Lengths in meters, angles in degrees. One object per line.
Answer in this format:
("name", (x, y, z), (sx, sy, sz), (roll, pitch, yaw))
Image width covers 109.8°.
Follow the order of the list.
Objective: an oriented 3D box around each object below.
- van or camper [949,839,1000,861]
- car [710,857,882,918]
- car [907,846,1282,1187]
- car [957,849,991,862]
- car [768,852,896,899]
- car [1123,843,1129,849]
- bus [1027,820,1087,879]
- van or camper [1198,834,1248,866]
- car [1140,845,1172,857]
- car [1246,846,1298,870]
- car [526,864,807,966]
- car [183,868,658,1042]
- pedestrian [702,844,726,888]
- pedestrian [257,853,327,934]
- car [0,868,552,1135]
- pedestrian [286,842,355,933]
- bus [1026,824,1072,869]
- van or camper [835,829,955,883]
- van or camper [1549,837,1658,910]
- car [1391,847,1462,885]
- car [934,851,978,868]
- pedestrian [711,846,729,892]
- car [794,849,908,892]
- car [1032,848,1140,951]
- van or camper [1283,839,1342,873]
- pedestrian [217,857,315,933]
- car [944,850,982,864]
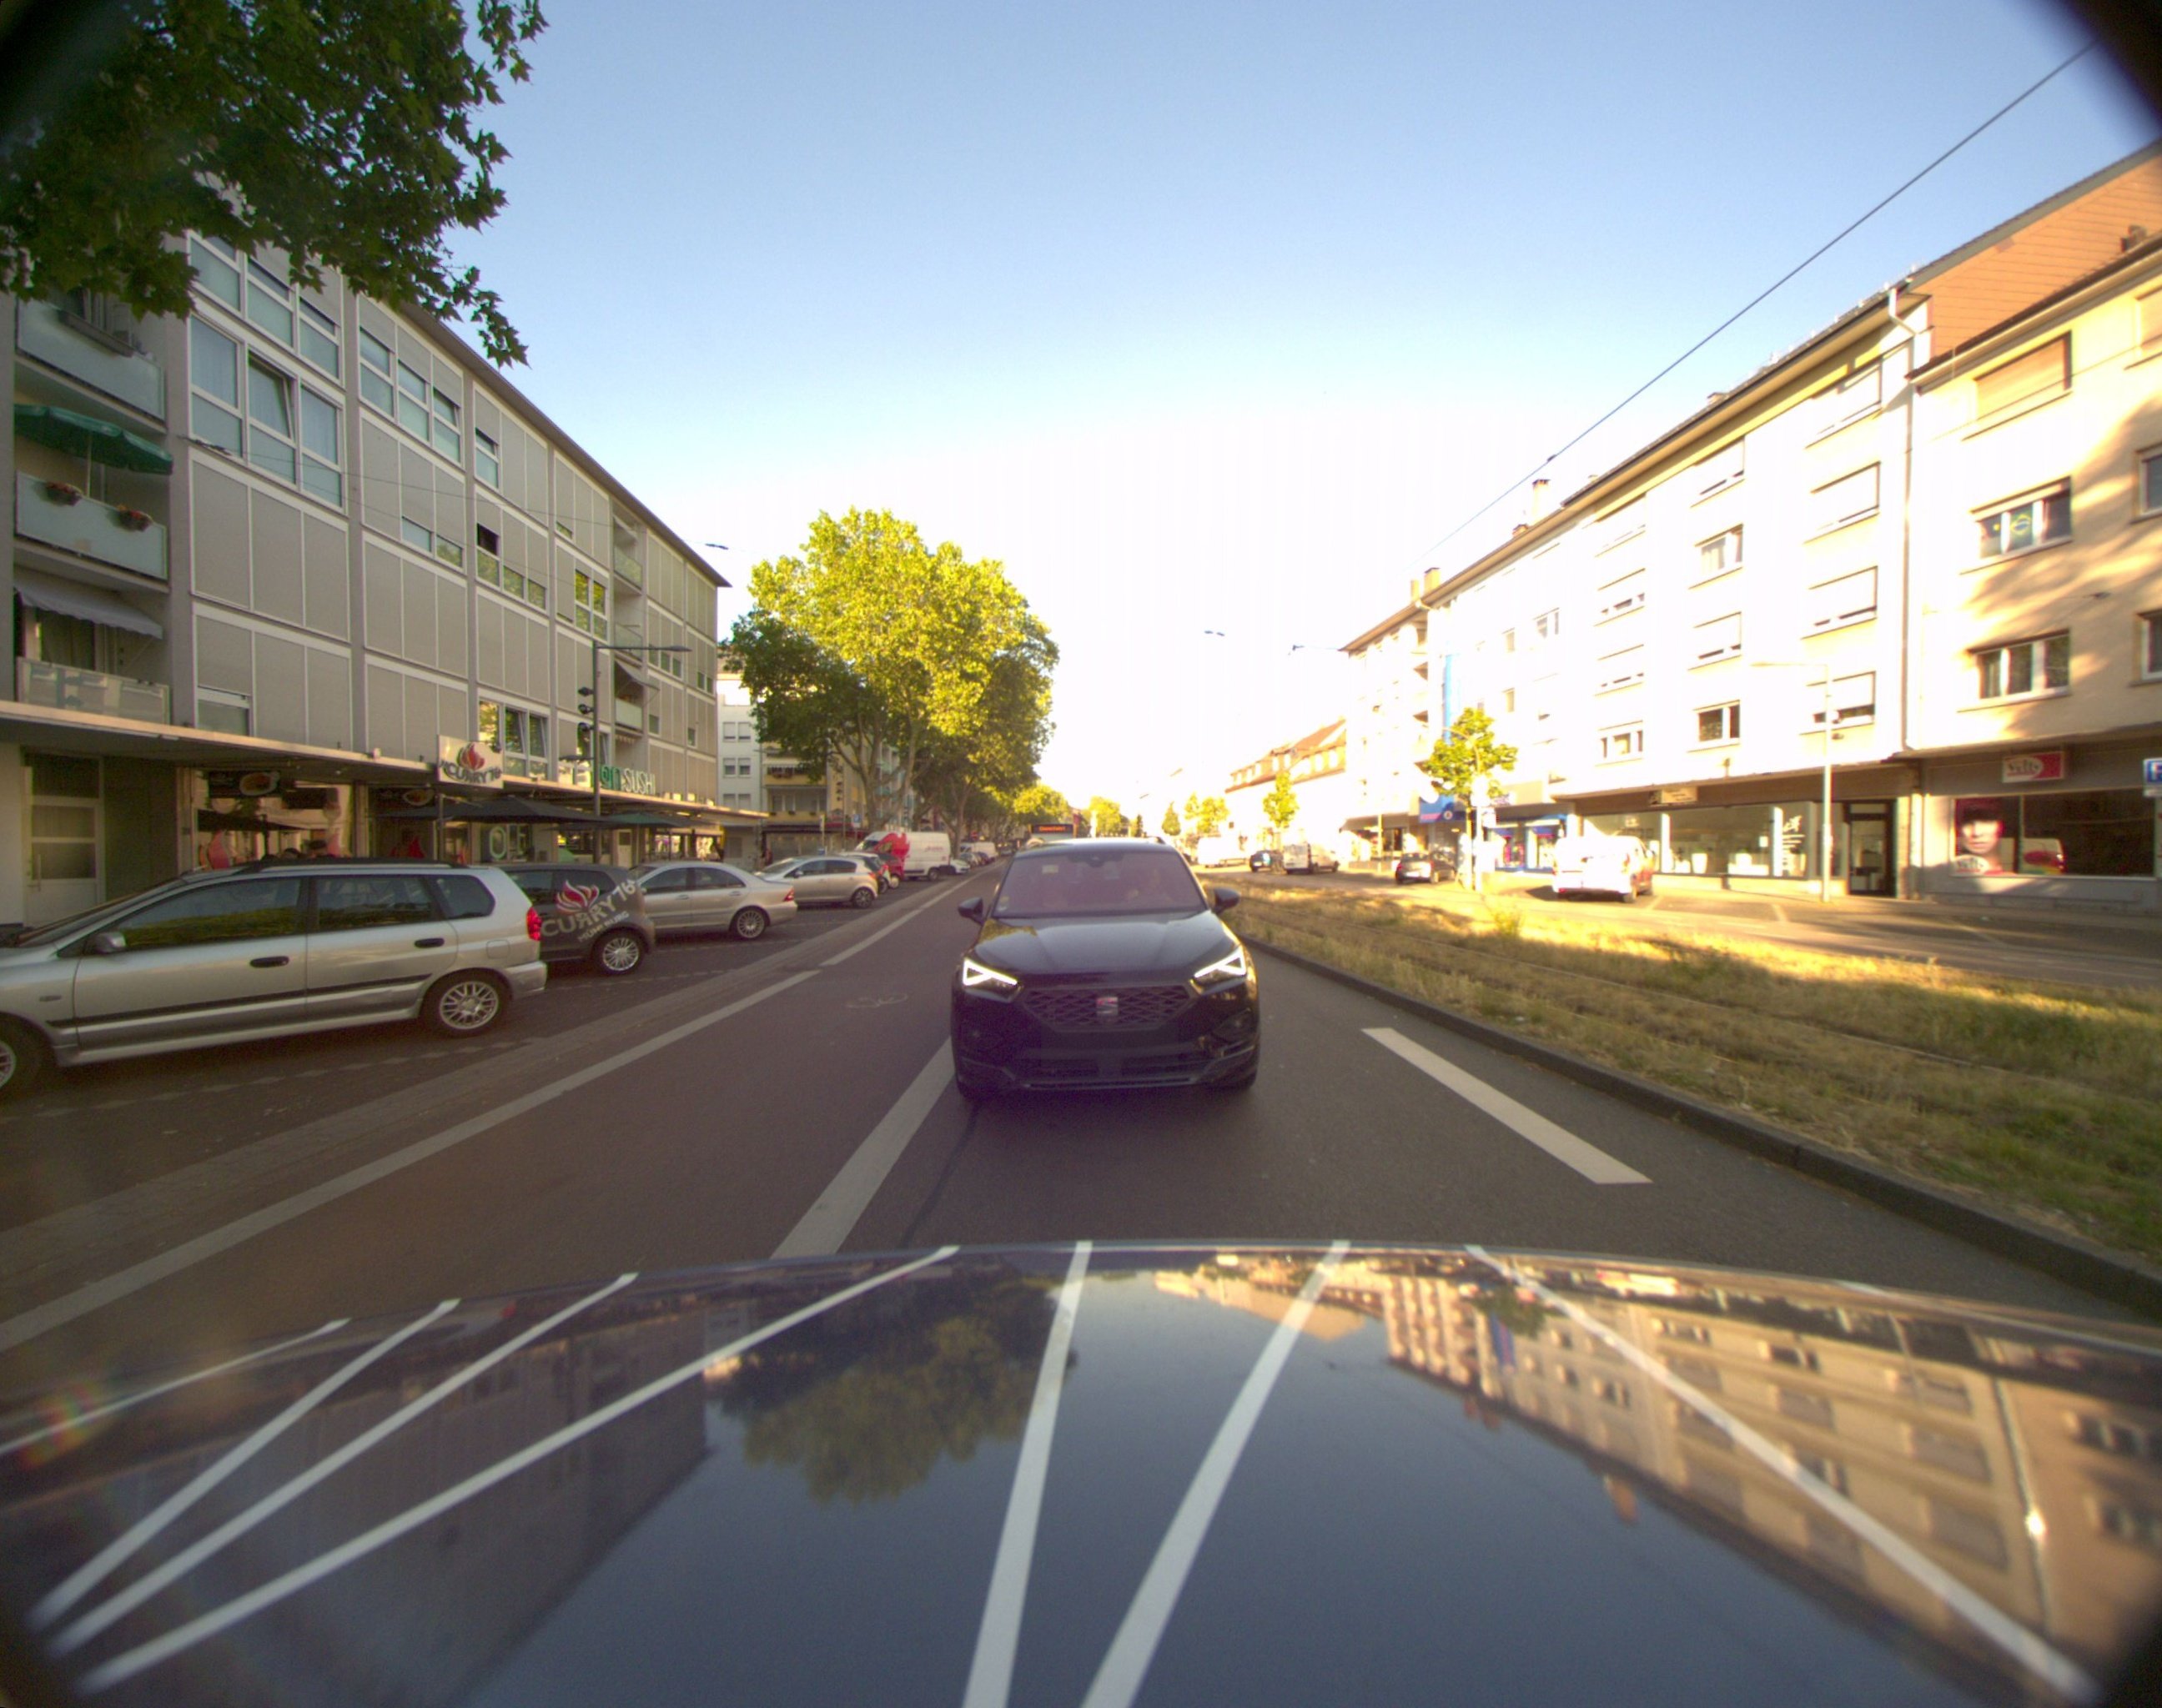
("van or camper", (-11.833, -0.452, 84.772), (1.994, 2.455, 5.474), (1, 1, 44))
("car", (-7.614, 0.832, 20.517), (4.008, 1.428, 1.654), (0, 2, -44))
("car", (0.096, 0.794, 5.779), (1.808, 1.638, 3.999), (-2, 1, 1))
("car", (-11.396, 0.173, 81.283), (3.337, 1.339, 1.526), (0, 2, -44))
("car", (-8.794, 0.702, 27.024), (4.008, 1.514, 1.654), (0, 2, -44))
("car", (14.370, -2.569, 244.864), (1.869, 1.832, 3.826), (0, 1, 3))
("bus", (-1.671, -0.383, 45.627), (2.873, 2.962, 12.231), (-2, 2, -5))
("van or camper", (12.904, -0.400, 68.568), (1.994, 2.652, 6.410), (-1, 1, 34))
("car", (10.153, -0.369, 103.198), (3.921, 1.482, 1.766), (-3, 1, -27))
("car", (13.747, 0.293, 54.662), (1.874, 1.577, 4.008), (-1, 1, 43))
("car", (-7.127, 0.937, 13.373), (1.654, 1.428, 4.009), (2, 2, 43))
("car", (-7.575, 0.965, 9.084), (1.804, 1.498, 4.008), (1, 1, 38))
("pedestrian", (-13.649, 0.438, 28.251), (0.538, 1.582, 0.686), (2, 1, -5))
("pedestrian", (-14.220, 0.694, 13.711), (0.538, 1.392, 0.686), (2, 1, -5))
("car", (-6.913, 0.964, 6.102), (1.804, 1.597, 4.008), (1, 1, 38))
("pedestrian", (-13.653, 0.586, 13.661), (0.538, 1.582, 0.686), (2, 1, -5))
("bus", (-2.612, -0.665, 57.794), (2.873, 2.962, 12.231), (-2, 2, -5))
("van or camper", (-9.114, 0.059, 37.618), (5.474, 2.455, 1.994), (-1, 1, -44))
("van or camper", (15.831, 0.510, 22.906), (1.946, 1.887, 4.824), (-1, 1, 43))
("car", (15.623, 0.518, 34.236), (1.765, 1.482, 4.460), (-1, 1, 39))
("car", (-10.558, 0.477, 64.241), (3.337, 1.339, 1.526), (0, 2, -44))
("pedestrian", (-15.944, 0.652, 33.530), (0.552, 2.002, 0.576), (-3, 1, -18))
("car", (-9.100, 0.617, 30.219), (4.008, 1.555, 1.654), (0, 2, -44))
("car", (0.069, 0.683, 13.662), (1.659, 1.571, 3.999), (0, 1, 0))
("van or camper", (14.582, 0.116, 47.801), (1.795, 1.978, 4.460), (-1, 1, 41))
("pedestrian", (-15.160, 0.744, 14.165), (0.750, 1.354, 0.962), (0, 1, 0))
("car", (-11.486, 0.257, 74.030), (3.337, 1.339, 1.526), (0, 2, -44))
